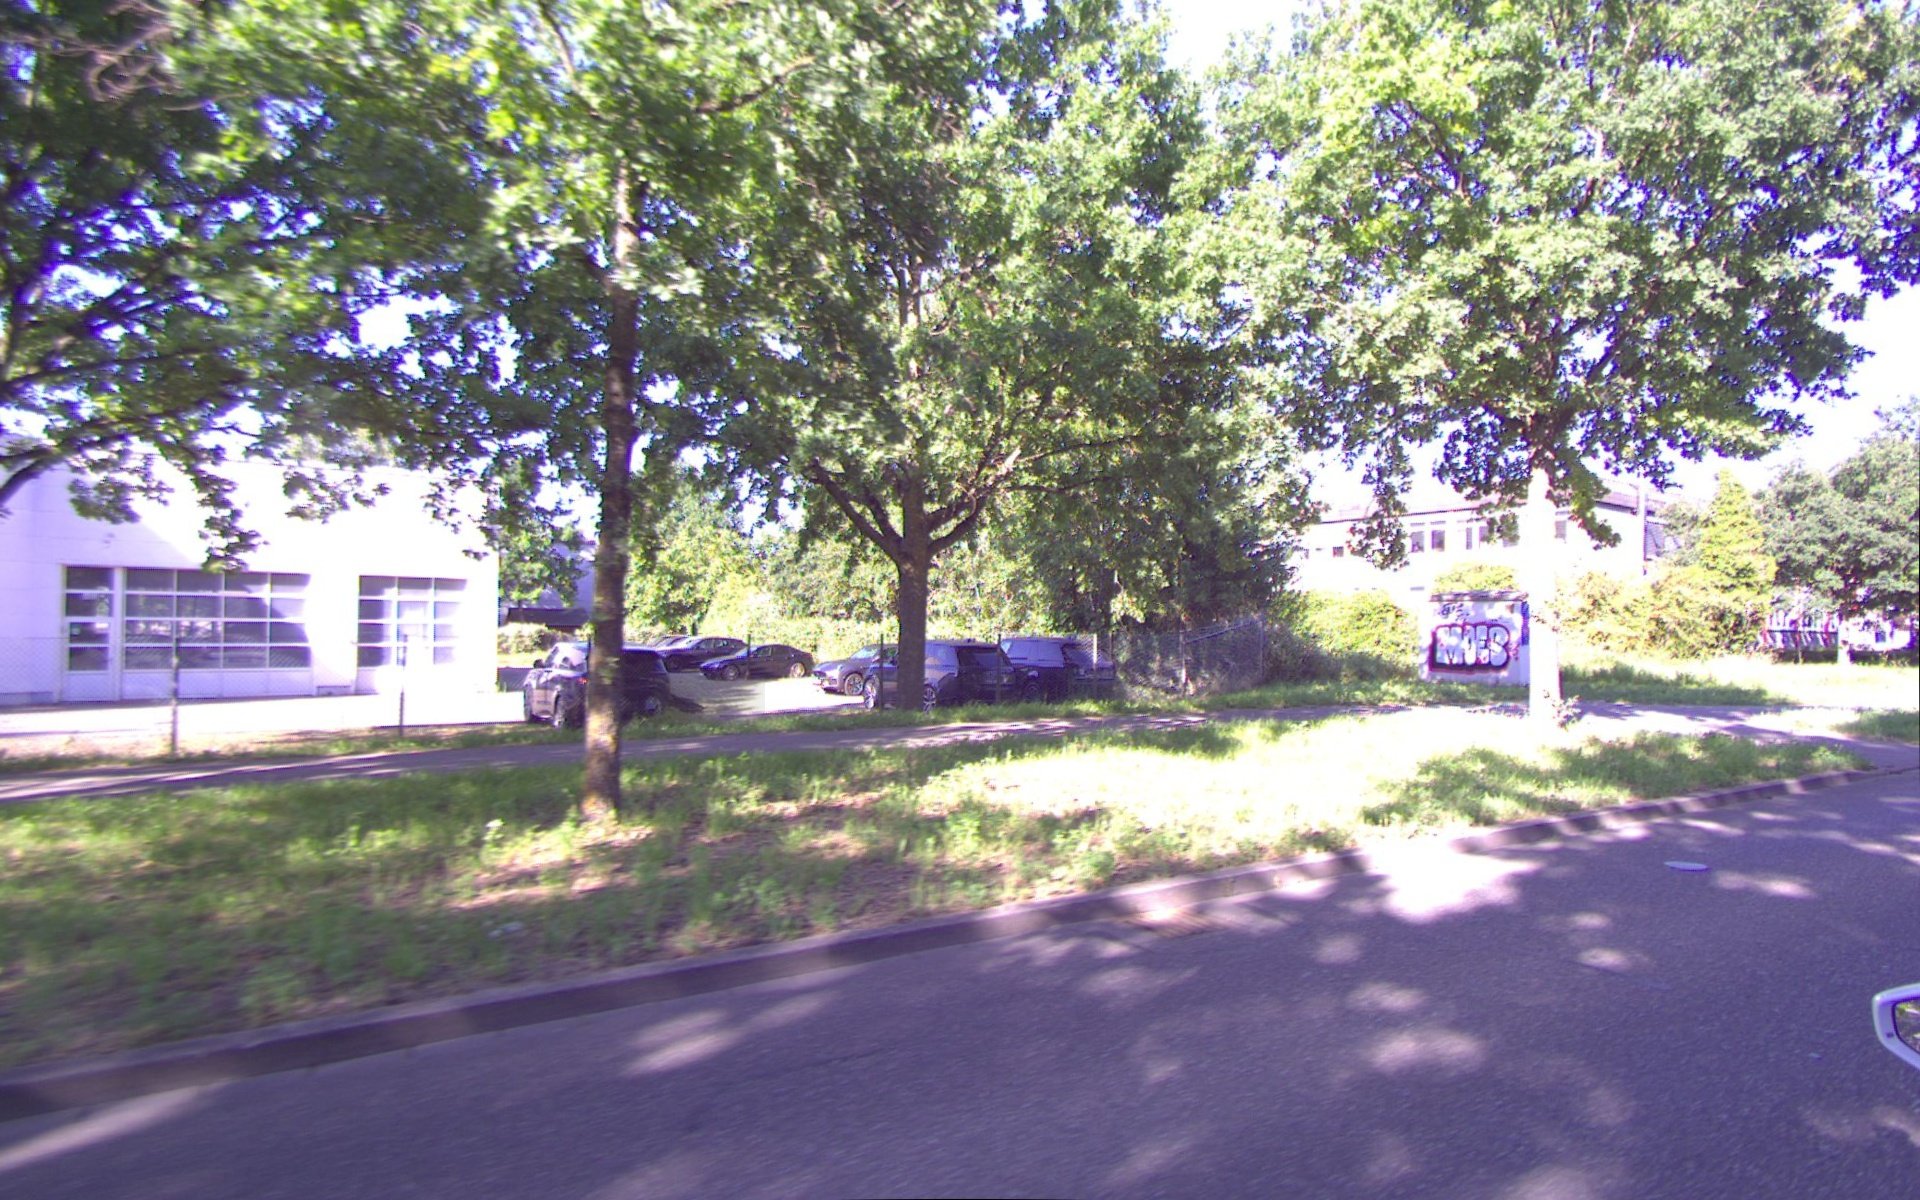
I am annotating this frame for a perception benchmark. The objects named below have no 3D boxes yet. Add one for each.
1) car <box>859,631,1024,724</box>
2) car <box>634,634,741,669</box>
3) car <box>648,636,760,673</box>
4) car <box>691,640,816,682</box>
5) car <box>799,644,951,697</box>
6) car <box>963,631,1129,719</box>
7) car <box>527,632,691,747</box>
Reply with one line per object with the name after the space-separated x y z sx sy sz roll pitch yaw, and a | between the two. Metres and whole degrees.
-0.530 1.745 23.881 1.979 1.825 4.164 1 0 -33 | car
-13.666 2.572 50.440 4.826 1.587 1.984 2 0 -30 | car
-12.220 2.592 47.952 4.826 1.587 1.984 2 0 -30 | car
-8.702 2.545 42.510 4.837 1.587 1.980 2 0 -36 | car
-2.866 2.356 34.380 4.837 1.587 1.980 2 0 -36 | car
2.047 1.774 25.044 1.979 1.825 4.164 1 0 -33 | car
-6.936 1.622 19.588 1.981 1.825 3.960 1 0 -35 | car
